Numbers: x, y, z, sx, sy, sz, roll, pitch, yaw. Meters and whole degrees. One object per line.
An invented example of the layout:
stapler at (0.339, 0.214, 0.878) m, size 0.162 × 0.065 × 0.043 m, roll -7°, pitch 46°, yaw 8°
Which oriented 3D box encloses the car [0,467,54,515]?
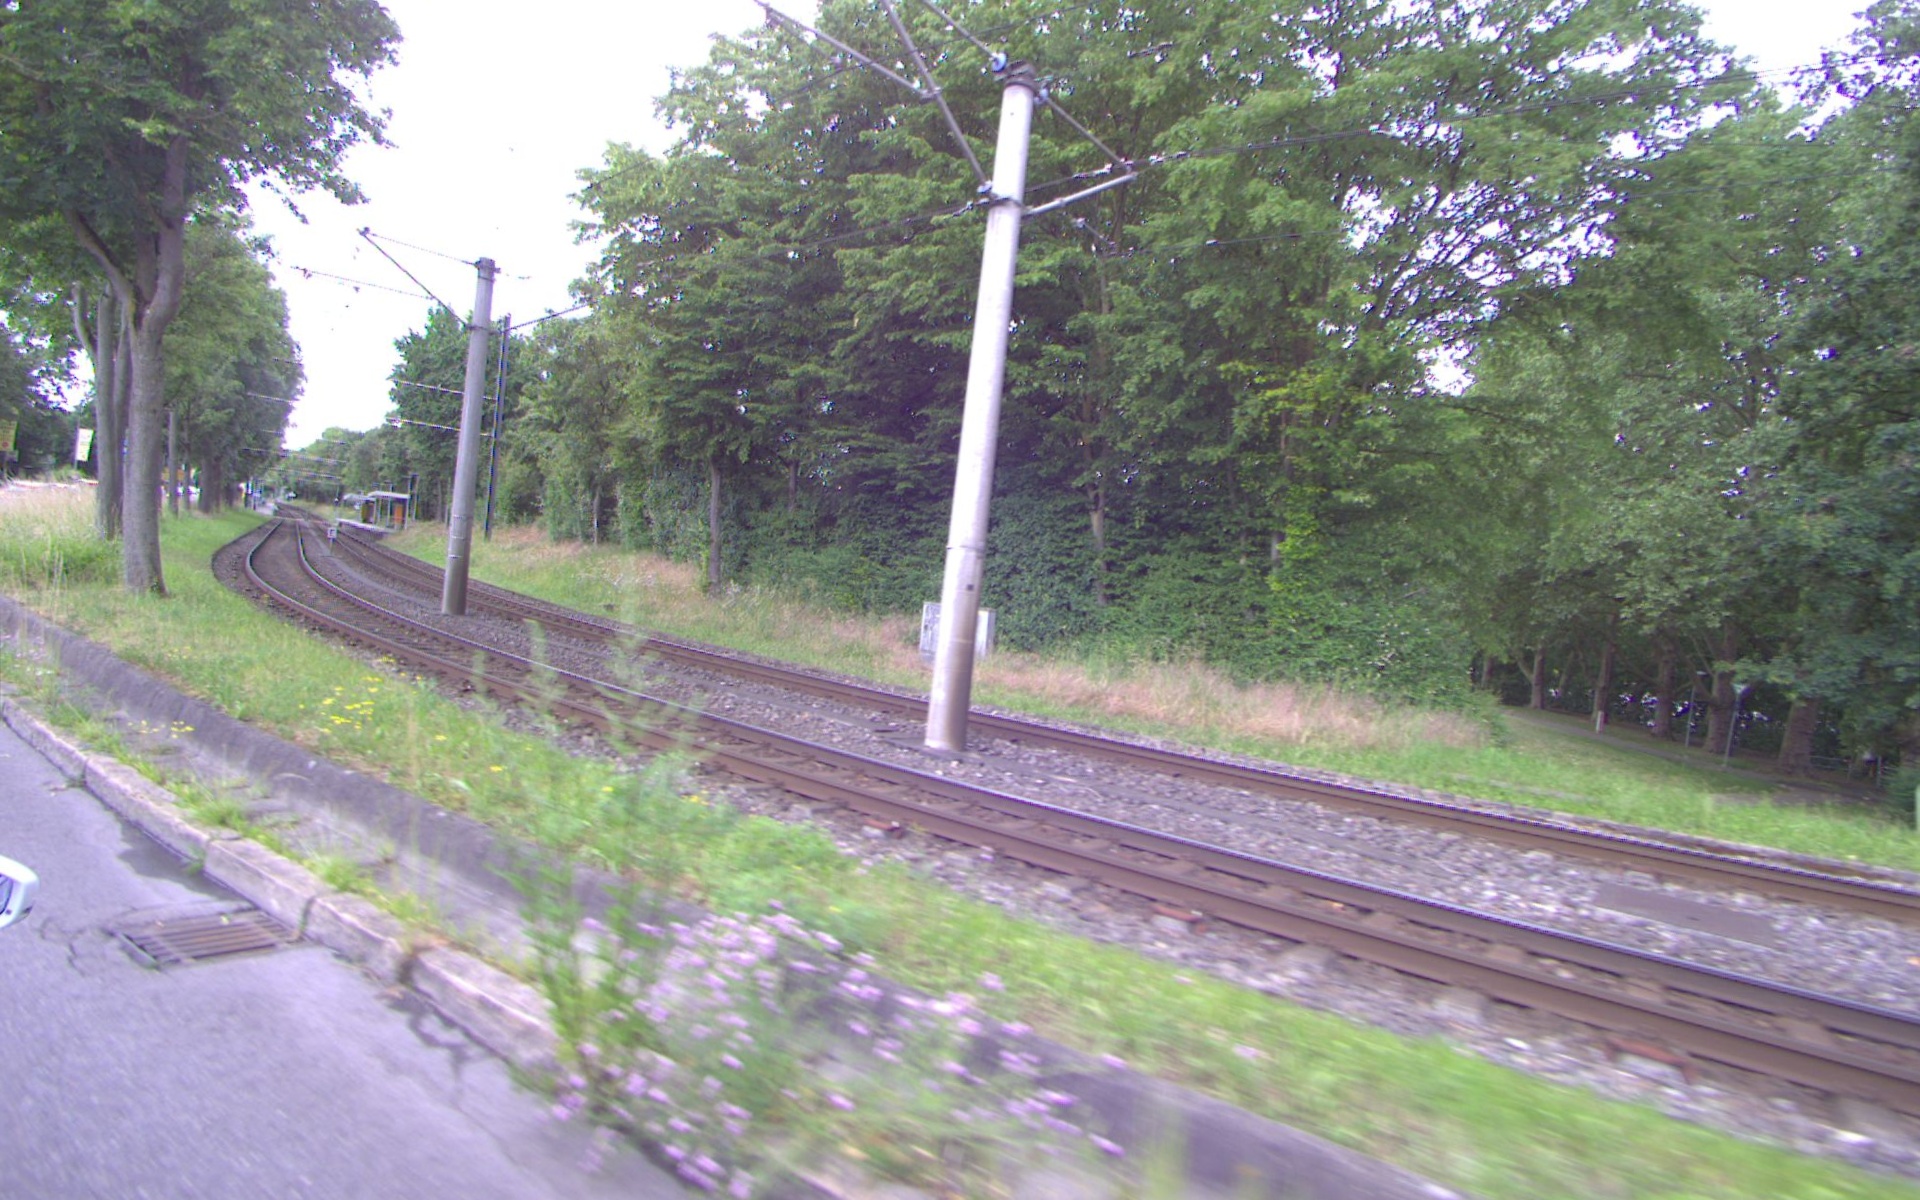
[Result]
car at (-36.822, -4.244, 39.273) m, size 1.797 × 1.558 × 3.957 m, roll 9°, pitch -2°, yaw -39°

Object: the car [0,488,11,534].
car at (-30.109, -2.808, 30.653) m, size 1.494 × 1.381 × 3.546 m, roll 5°, pitch 1°, yaw -41°
